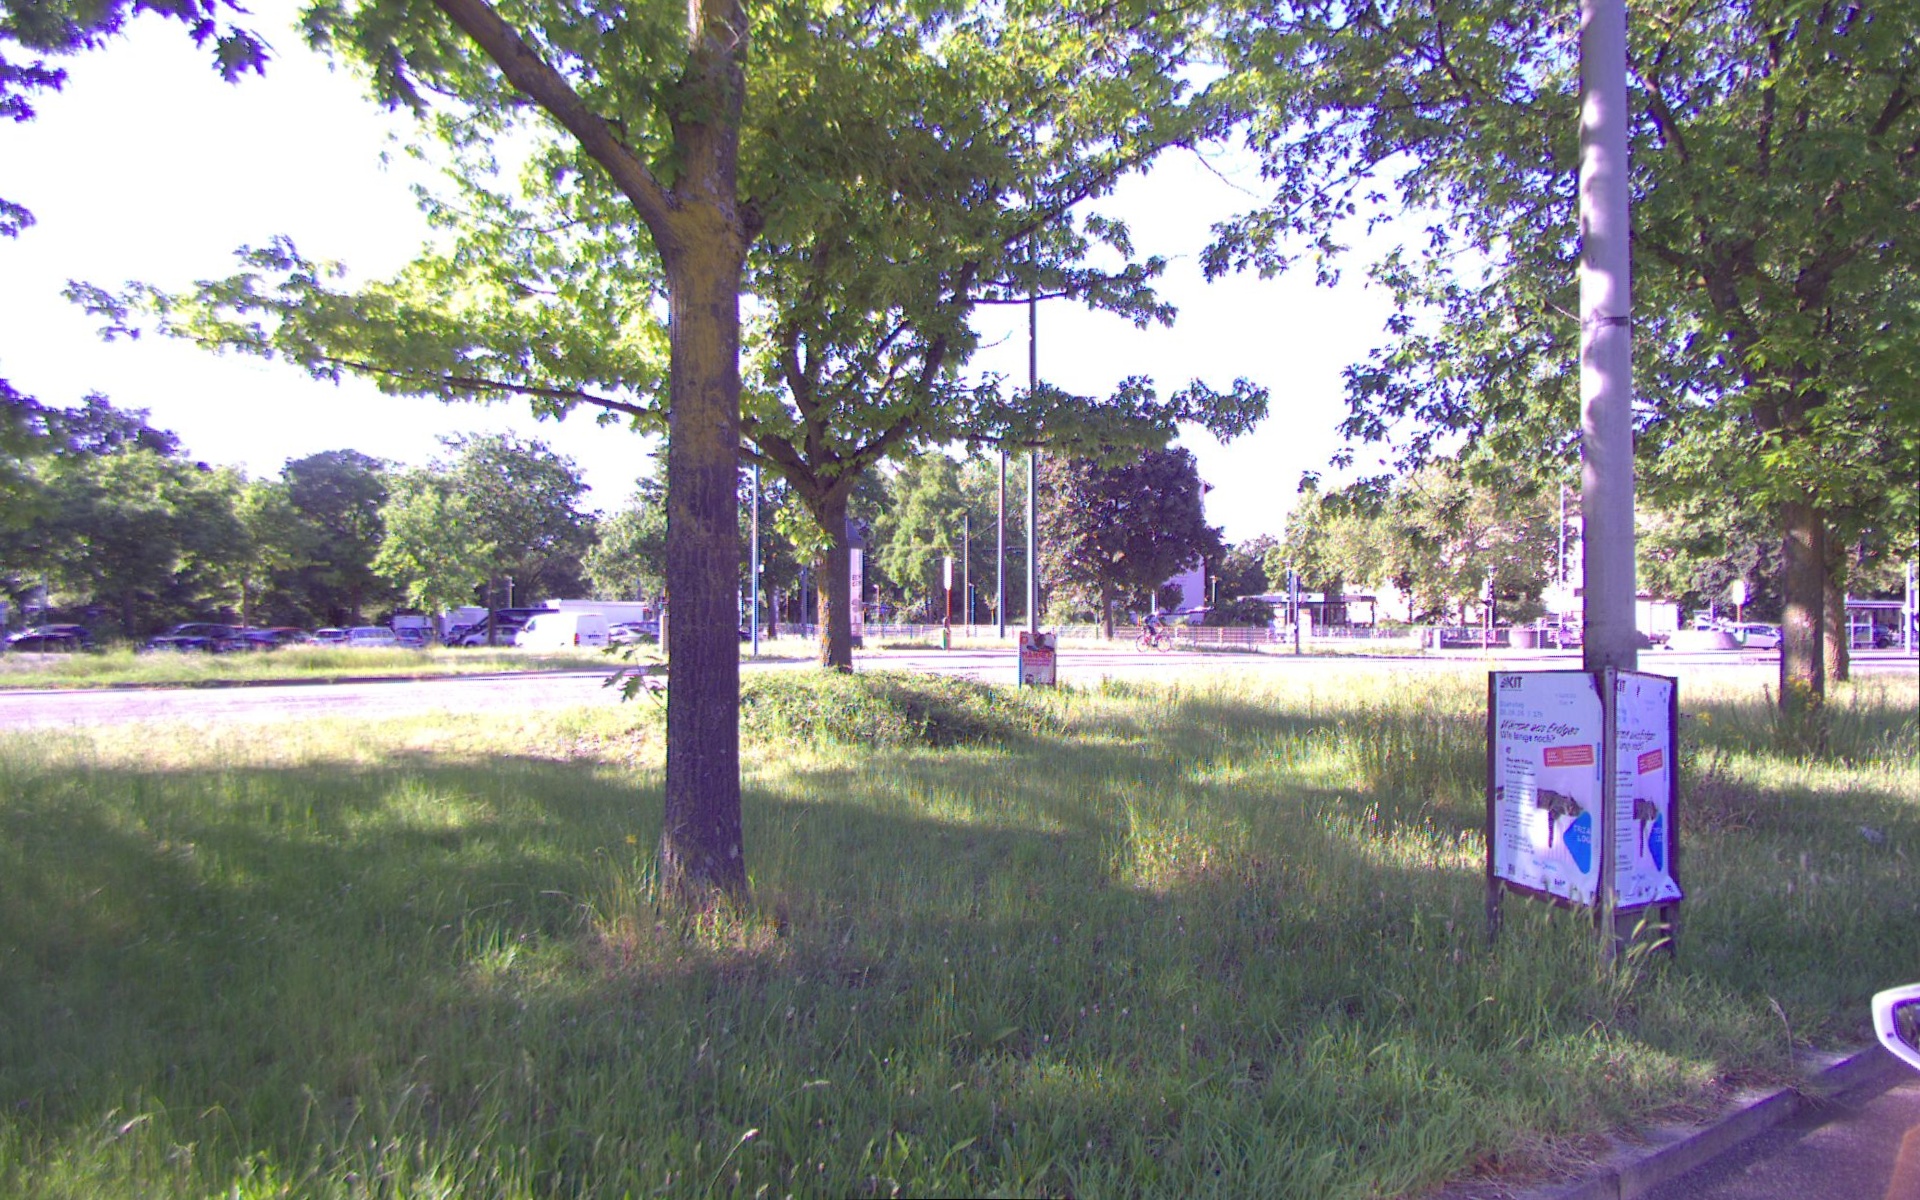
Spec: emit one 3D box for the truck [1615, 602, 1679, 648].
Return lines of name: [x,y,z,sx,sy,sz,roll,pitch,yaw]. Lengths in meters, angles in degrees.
truck: [46.763,1.678,68.482,1.959,3.035,4.831,0,0,13]

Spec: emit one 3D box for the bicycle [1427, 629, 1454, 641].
bicycle: [34.572,2.512,72.276,1.652,0.850,0.548,0,-1,18]

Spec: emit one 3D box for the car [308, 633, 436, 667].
car: [-21.881,1.839,37.457,3.962,1.143,1.803,1,-1,-37]

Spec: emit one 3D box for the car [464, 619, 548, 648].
car: [-25.130,1.841,55.751,3.932,1.493,1.963,0,2,-14]

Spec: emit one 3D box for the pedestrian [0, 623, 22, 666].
pedestrian: [-32.867,1.516,34.385,0.863,1.437,0.994,1,-1,-30]

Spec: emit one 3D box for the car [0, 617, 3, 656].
car: [-39.315,1.356,37.720,1.964,1.483,4.548,2,0,30]

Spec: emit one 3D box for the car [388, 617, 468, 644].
car: [-31.306,1.774,59.238,3.943,1.530,1.989,1,-1,-23]

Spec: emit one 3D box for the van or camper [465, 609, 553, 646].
van or camper: [-26.008,1.587,58.067,4.326,2.124,1.995,0,-1,-14]

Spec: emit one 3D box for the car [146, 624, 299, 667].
car: [-26.063,1.583,35.630,3.929,1.467,1.819,0,-1,-11]

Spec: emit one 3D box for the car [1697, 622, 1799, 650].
car: [47.950,2.172,61.219,4.457,1.565,1.873,0,2,14]

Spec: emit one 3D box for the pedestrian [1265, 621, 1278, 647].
pedestrian: [22.585,2.473,72.902,0.714,1.853,0.559,1,-1,-9]

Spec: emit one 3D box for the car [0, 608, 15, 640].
car: [-55.430,1.331,55.756,4.097,1.824,1.980,1,-1,-36]

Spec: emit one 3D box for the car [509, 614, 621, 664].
car: [-17.245,1.651,43.827,4.917,2.040,2.232,0,-1,35]

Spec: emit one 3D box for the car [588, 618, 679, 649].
car: [-15.022,1.517,46.163,3.934,1.299,1.994,0,-1,35]

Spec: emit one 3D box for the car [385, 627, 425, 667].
car: [-27.178,2.266,49.143,1.635,1.628,3.854,1,2,-30]

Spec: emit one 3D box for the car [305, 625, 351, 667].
car: [-29.627,2.113,47.149,1.635,1.628,3.854,1,2,-30]
